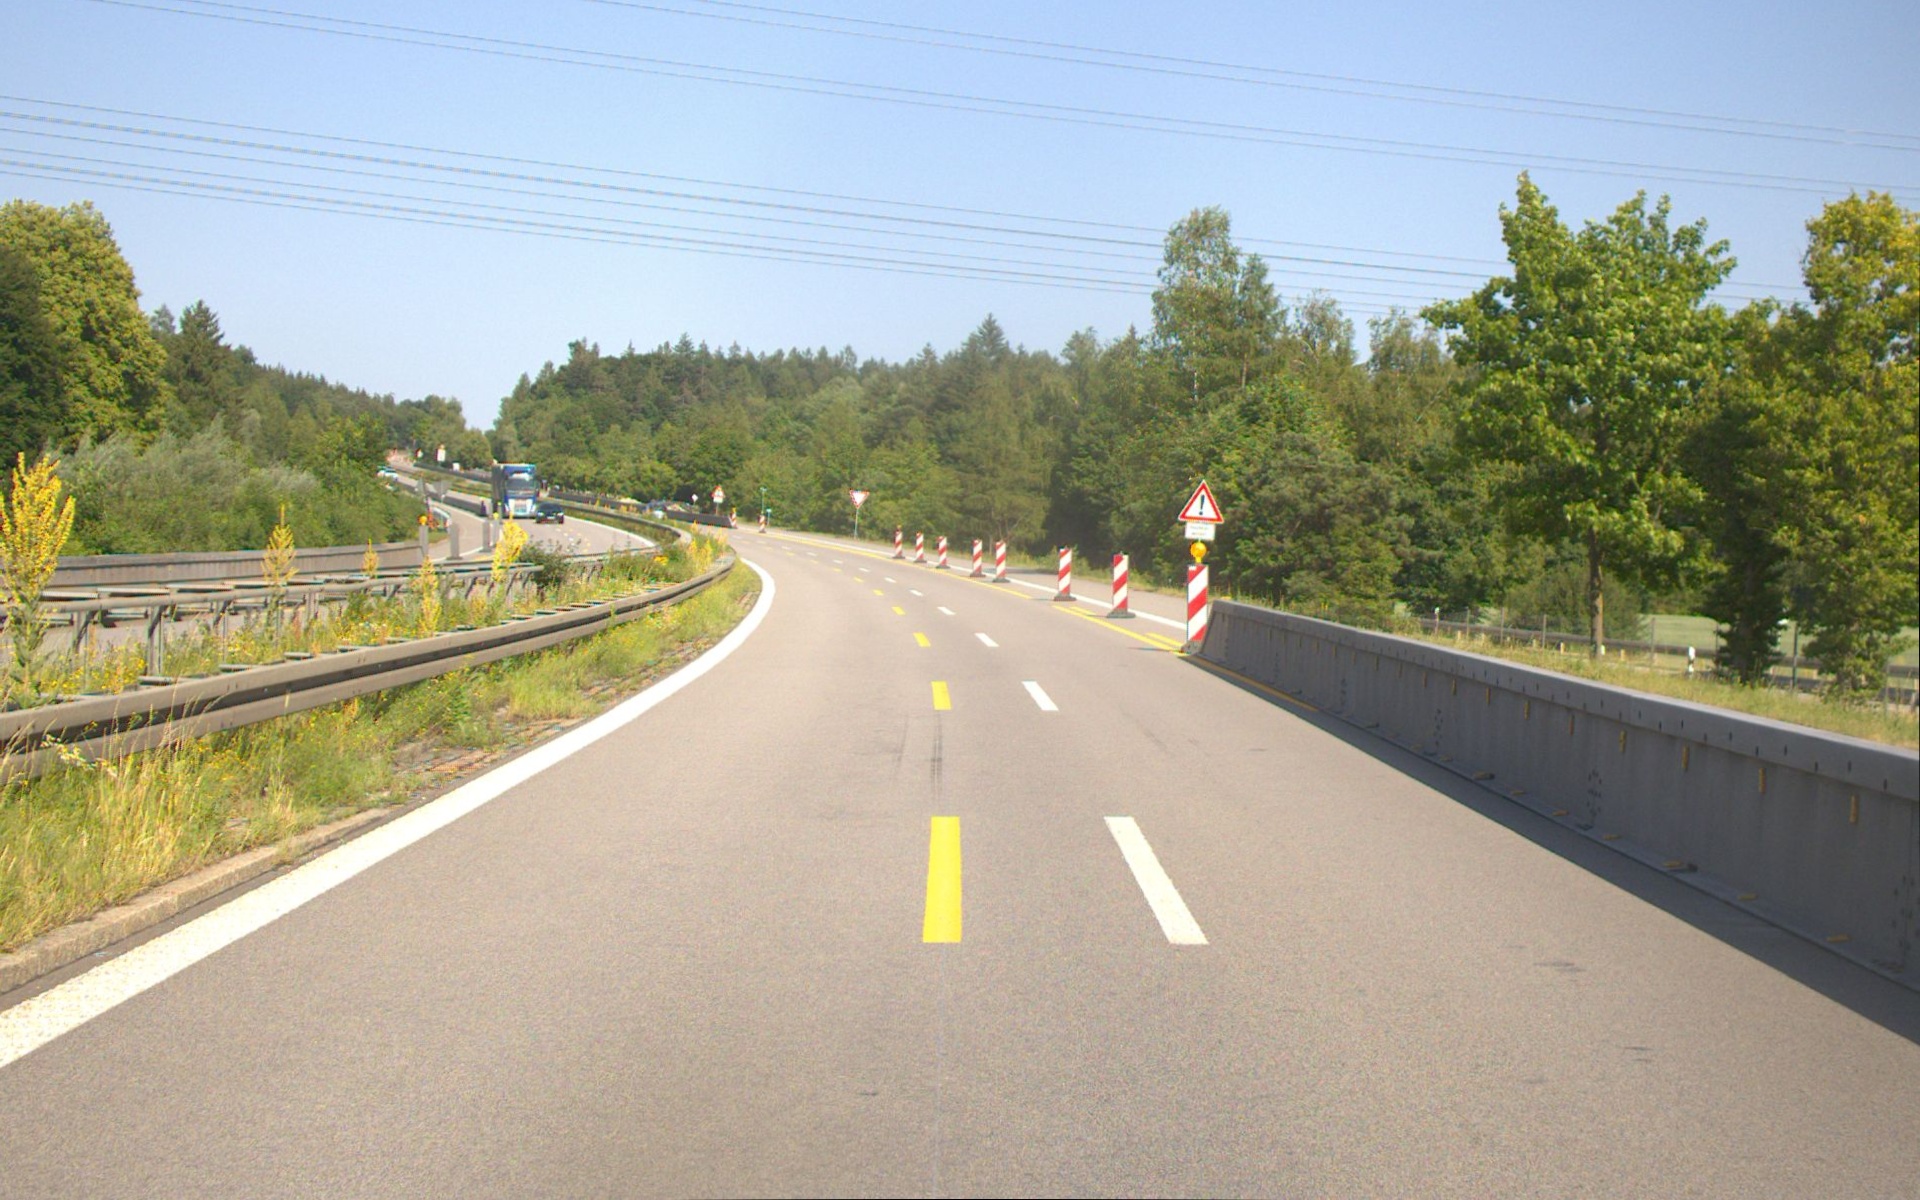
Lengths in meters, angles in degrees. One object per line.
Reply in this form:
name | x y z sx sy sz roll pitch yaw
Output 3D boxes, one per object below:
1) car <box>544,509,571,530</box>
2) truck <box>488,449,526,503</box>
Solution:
car | -27.664 -5.539 236.299 1.777 1.424 4.270 0 2 -5
truck | -33.860 -9.223 256.937 2.632 3.946 5.844 1 1 -6
